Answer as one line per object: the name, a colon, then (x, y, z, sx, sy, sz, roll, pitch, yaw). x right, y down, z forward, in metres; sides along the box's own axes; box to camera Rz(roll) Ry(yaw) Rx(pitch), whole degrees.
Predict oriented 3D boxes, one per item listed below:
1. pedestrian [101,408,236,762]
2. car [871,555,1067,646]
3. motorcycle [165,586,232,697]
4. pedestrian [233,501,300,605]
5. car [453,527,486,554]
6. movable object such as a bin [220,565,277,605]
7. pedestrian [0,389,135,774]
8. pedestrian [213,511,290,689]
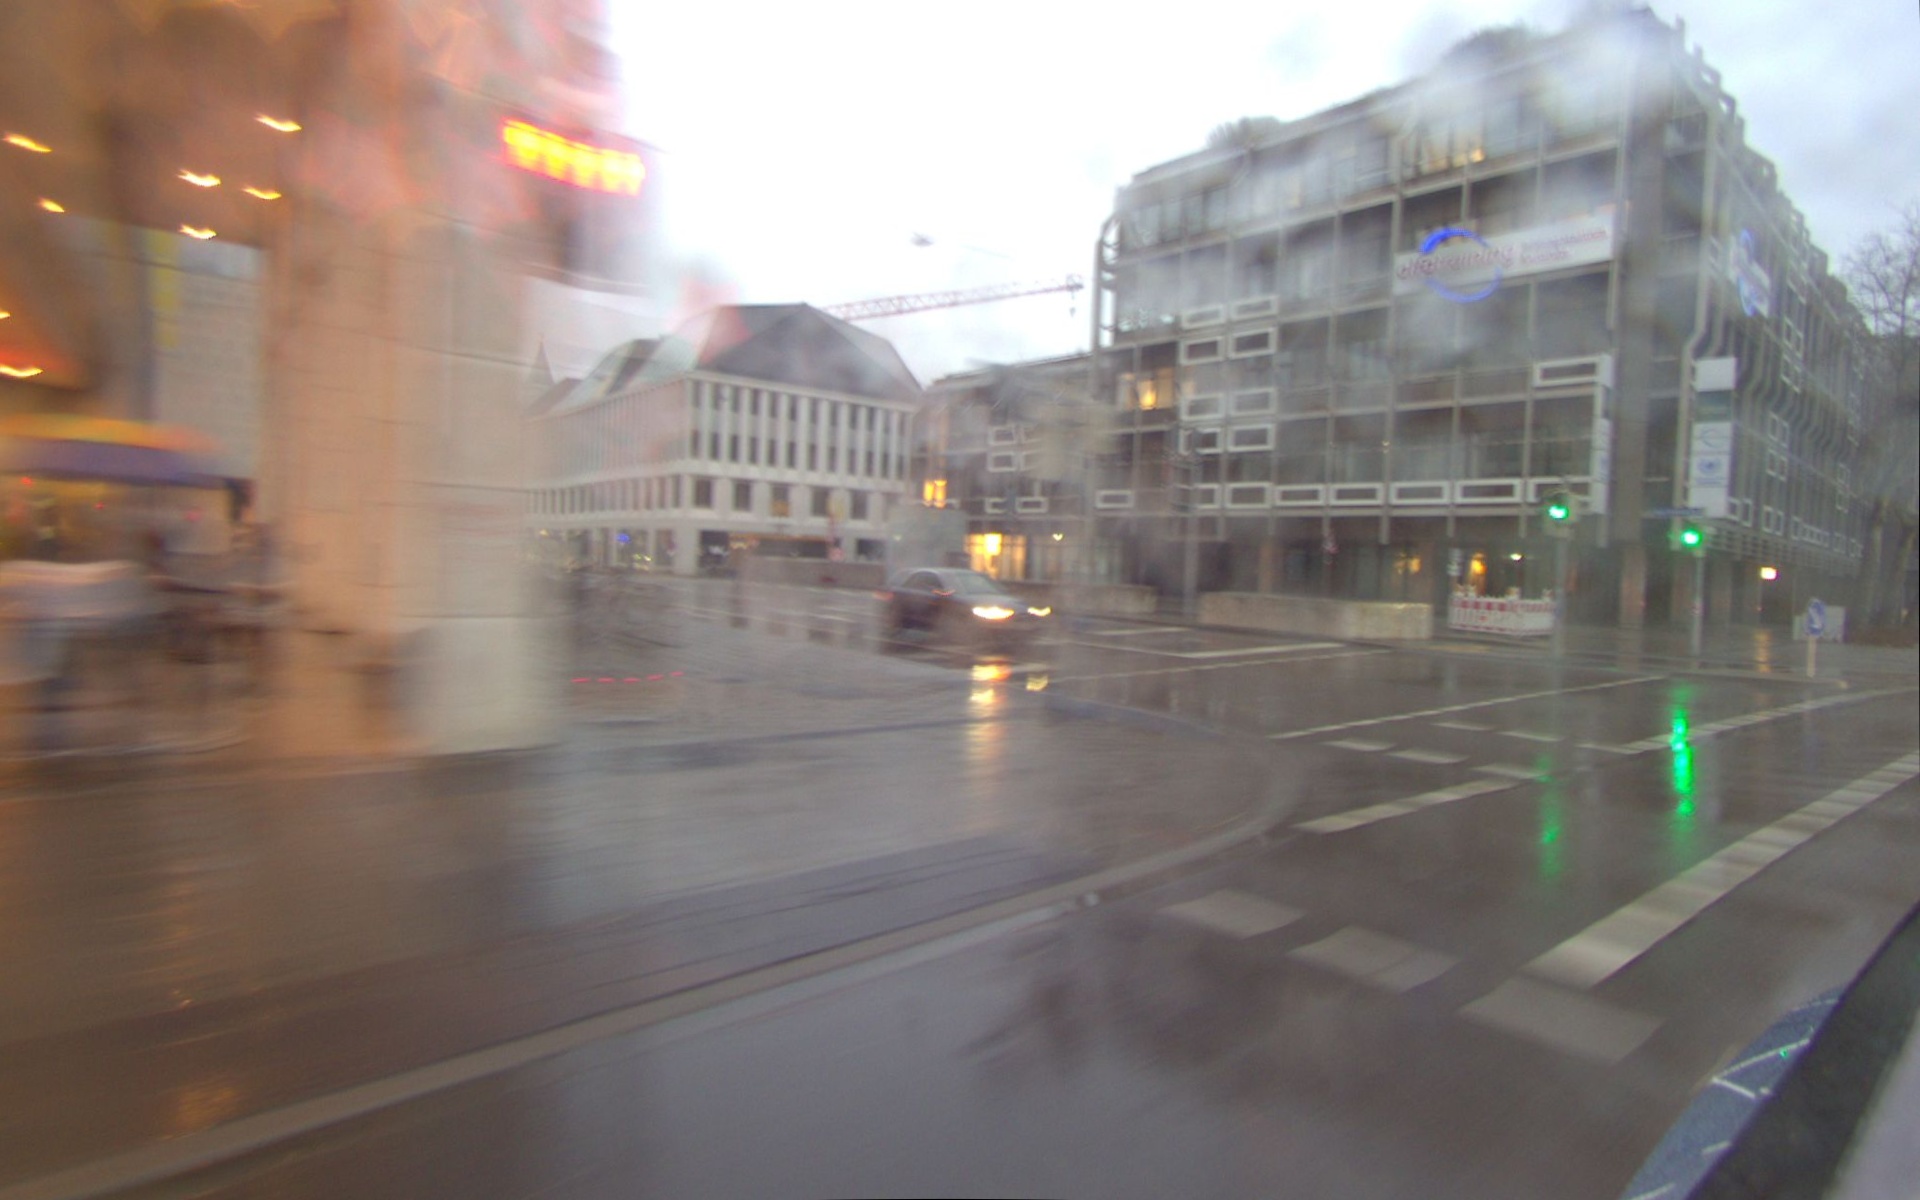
pedestrian: (-5.287, -0.108, 6.806, 0.569, 2.188, 0.968, 1, 2, -30)
car: (0.098, -0.071, 19.973, 1.825, 1.509, 3.825, -2, 4, -40)
motorcycle: (-7.055, 0.348, 9.353, 0.387, 0.900, 1.635, 1, 1, -40)
pedestrian: (-13.160, -0.882, 19.224, 0.824, 1.932, 0.629, 2, 0, -10)
car: (-47.918, -5.782, 98.816, 1.934, 2.531, 3.996, 0, 2, -40)
movable object such as a bin: (-13.076, -0.275, 18.602, 0.644, 0.715, 0.598, 2, 1, -8)
pedestrian: (-5.685, -0.121, 6.294, 0.697, 2.219, 0.963, 1, 2, -30)
pedestrian: (-6.780, -0.011, 9.677, 0.492, 1.628, 0.778, 1, 1, -41)
